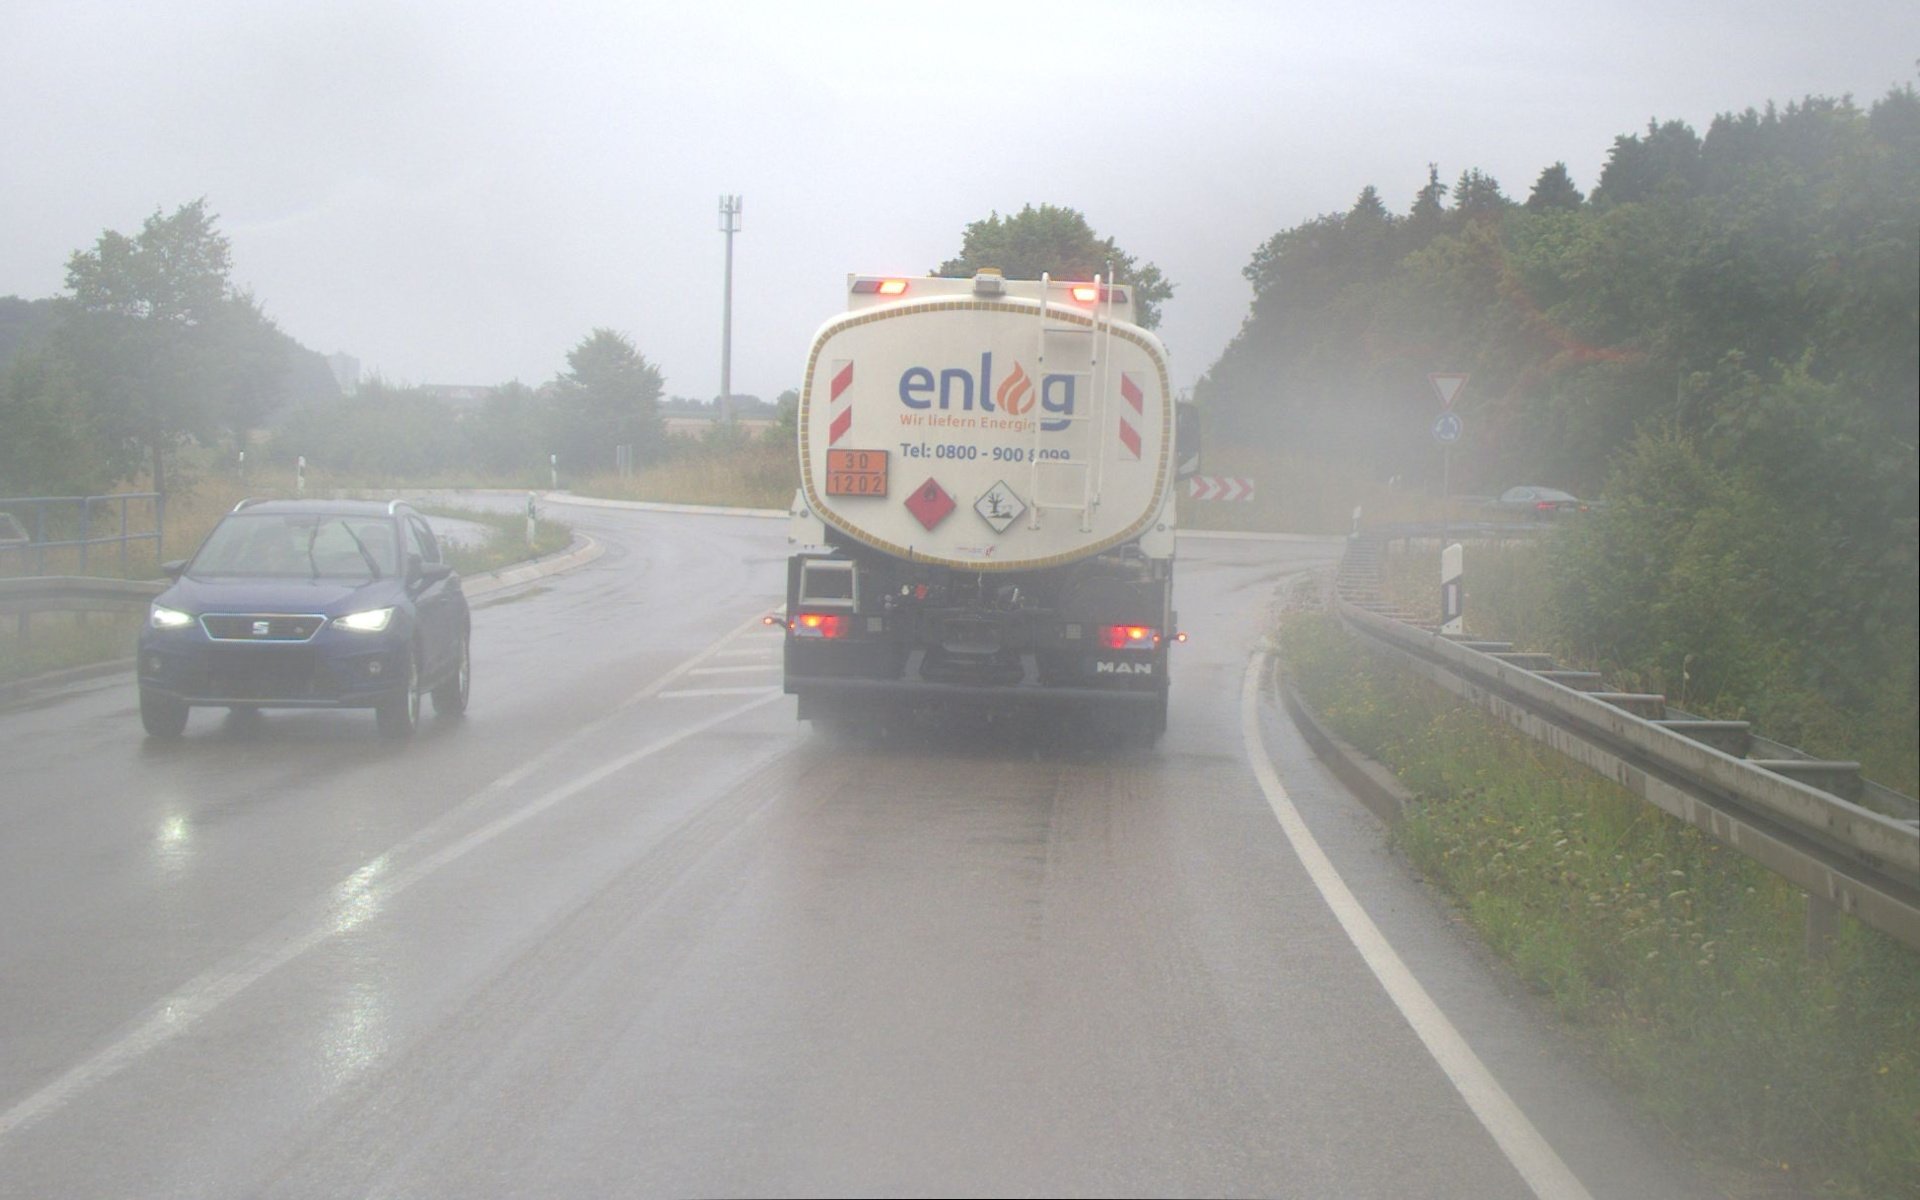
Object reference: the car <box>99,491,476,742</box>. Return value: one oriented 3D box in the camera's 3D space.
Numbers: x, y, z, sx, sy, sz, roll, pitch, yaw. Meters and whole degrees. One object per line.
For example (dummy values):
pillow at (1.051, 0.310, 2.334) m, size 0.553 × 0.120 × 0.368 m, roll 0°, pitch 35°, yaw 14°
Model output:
car at (-4.430, 0.042, 23.237) m, size 1.780 × 1.520 × 4.169 m, roll 1°, pitch 2°, yaw -1°

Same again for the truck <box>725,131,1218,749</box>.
truck at (0.253, -1.183, 26.020) m, size 3.039 × 3.838 × 8.823 m, roll 1°, pitch 2°, yaw 2°
